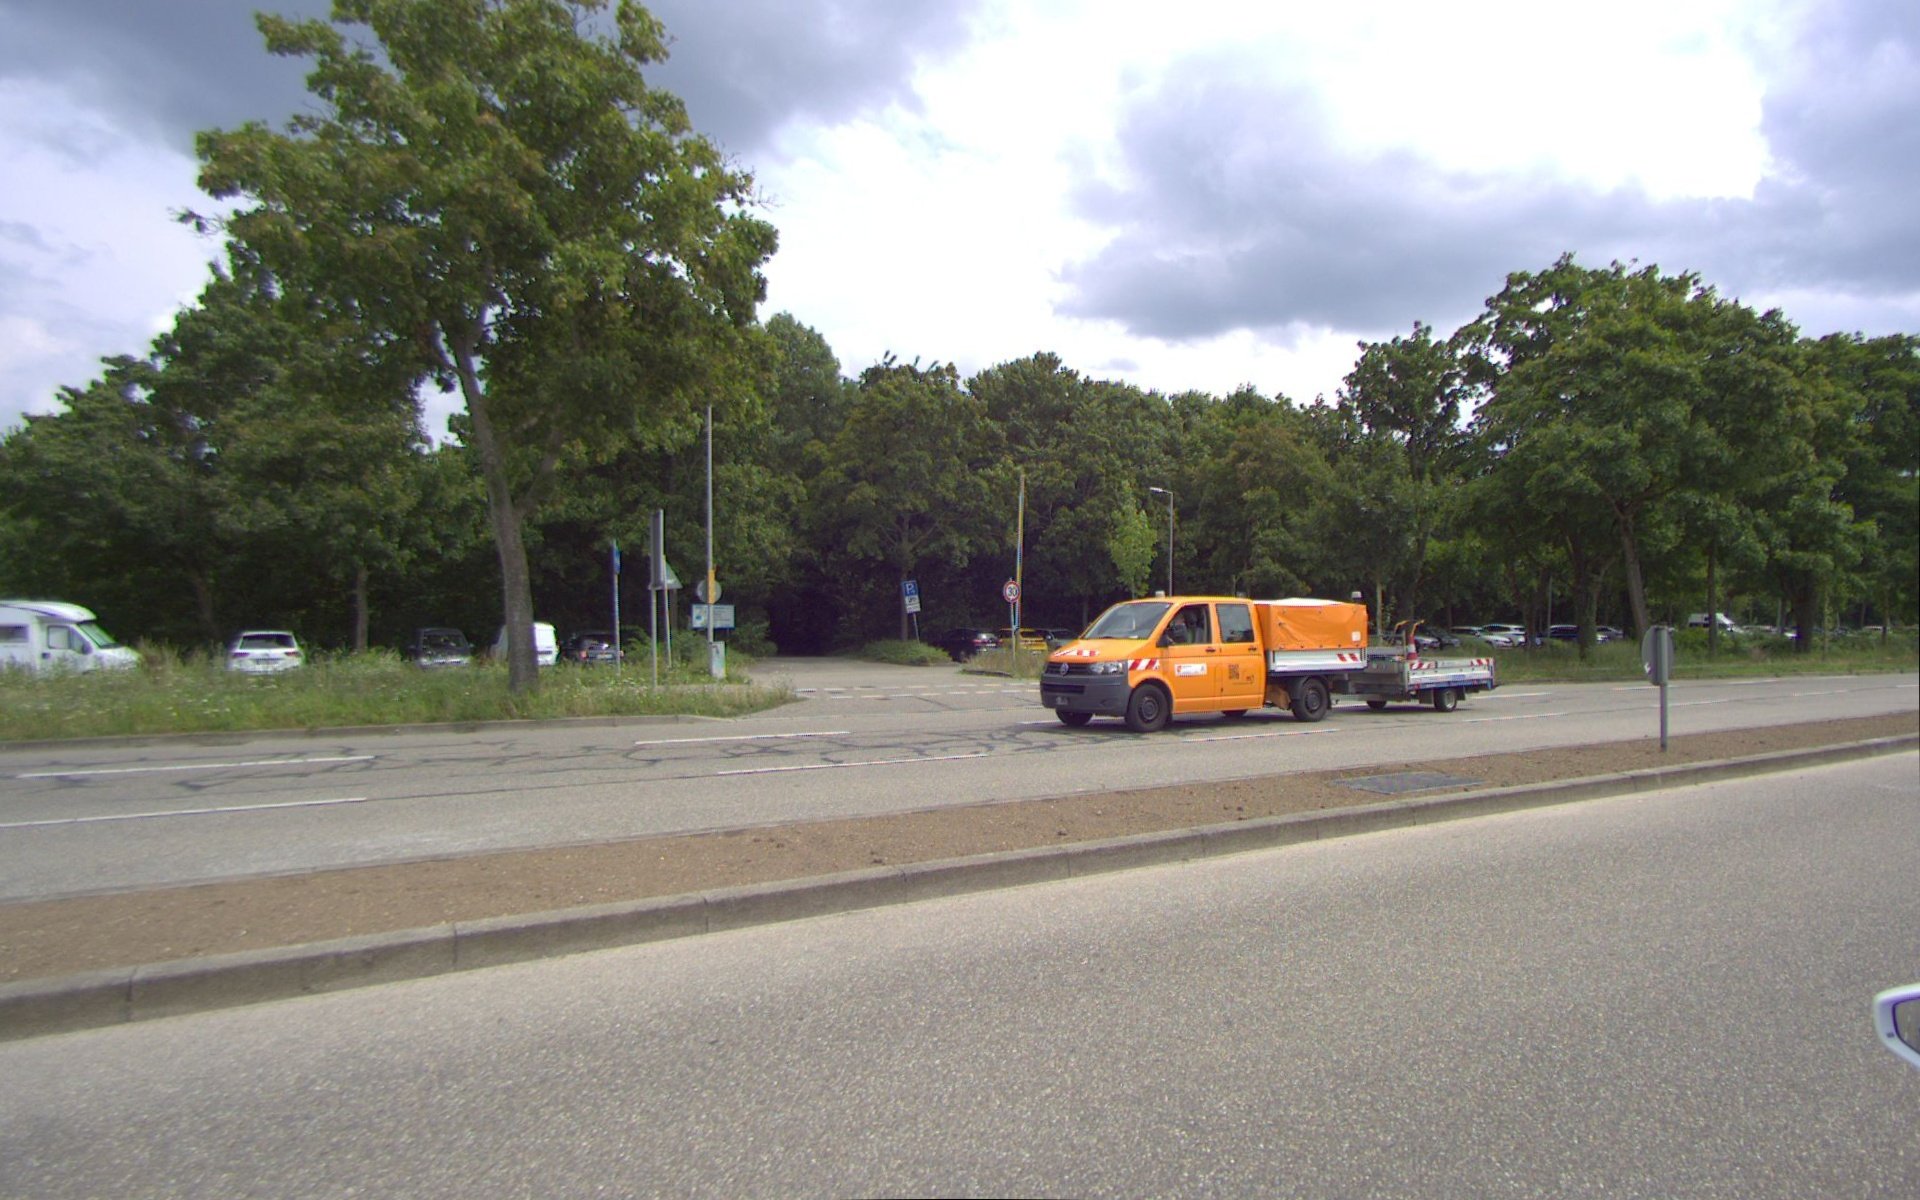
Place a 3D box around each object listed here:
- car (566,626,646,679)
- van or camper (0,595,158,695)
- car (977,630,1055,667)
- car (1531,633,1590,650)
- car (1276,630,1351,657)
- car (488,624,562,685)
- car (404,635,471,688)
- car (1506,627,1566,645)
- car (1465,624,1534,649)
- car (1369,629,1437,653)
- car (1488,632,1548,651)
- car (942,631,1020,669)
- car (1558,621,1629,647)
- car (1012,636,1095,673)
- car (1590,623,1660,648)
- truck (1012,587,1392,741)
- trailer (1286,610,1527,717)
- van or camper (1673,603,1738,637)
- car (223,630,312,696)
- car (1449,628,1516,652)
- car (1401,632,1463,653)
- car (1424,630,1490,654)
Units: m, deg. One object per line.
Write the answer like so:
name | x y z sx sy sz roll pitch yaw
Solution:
car | -12.670 1.808 35.824 2.022 1.736 3.969 0 -1 -30
van or camper | -25.679 1.168 26.552 6.640 2.574 2.460 0 -1 -30
car | 2.503 2.175 45.799 1.763 1.518 3.971 0 -1 -28
car | 42.187 2.911 70.630 1.423 1.108 3.352 0 -1 -29
car | 20.421 2.486 58.114 1.799 1.378 3.971 0 -1 -28
car | -14.824 1.783 34.123 1.916 1.912 3.969 0 -1 -30
car | -16.973 1.936 32.534 1.775 1.506 3.969 0 -1 -30
car | 39.176 2.428 68.396 1.423 1.144 3.352 0 -1 -29
car | 35.948 2.395 66.990 1.859 1.539 3.635 0 -1 -28
car | 27.288 2.528 61.993 1.687 1.378 3.631 0 -1 -28
car | 37.926 2.809 68.385 1.423 1.127 3.352 0 -1 -29
car | 0.875 2.197 44.675 1.763 1.518 3.971 0 -1 -28
car | 46.178 2.482 73.308 1.975 1.806 3.971 0 -1 -28
car | 4.253 2.485 46.505 1.862 1.518 4.163 0 -1 -28
car | 50.158 2.634 75.783 1.975 1.806 3.971 0 -1 -28
truck | 3.876 0.898 15.640 5.967 2.021 2.079 0 -2 -30
trailer | 7.994 1.093 17.972 3.848 1.712 2.054 1 -3 -29
van or camper | 62.815 1.709 84.663 1.904 2.793 3.968 0 -1 -30
car | -20.628 1.818 30.043 1.864 1.739 3.968 0 -1 -30
car | 33.829 2.589 65.112 1.498 1.430 3.635 0 -1 -28
car | 29.461 2.619 62.764 1.498 1.223 3.281 0 -1 -28
car | 31.671 2.660 64.103 1.498 1.430 3.635 0 -1 -28
